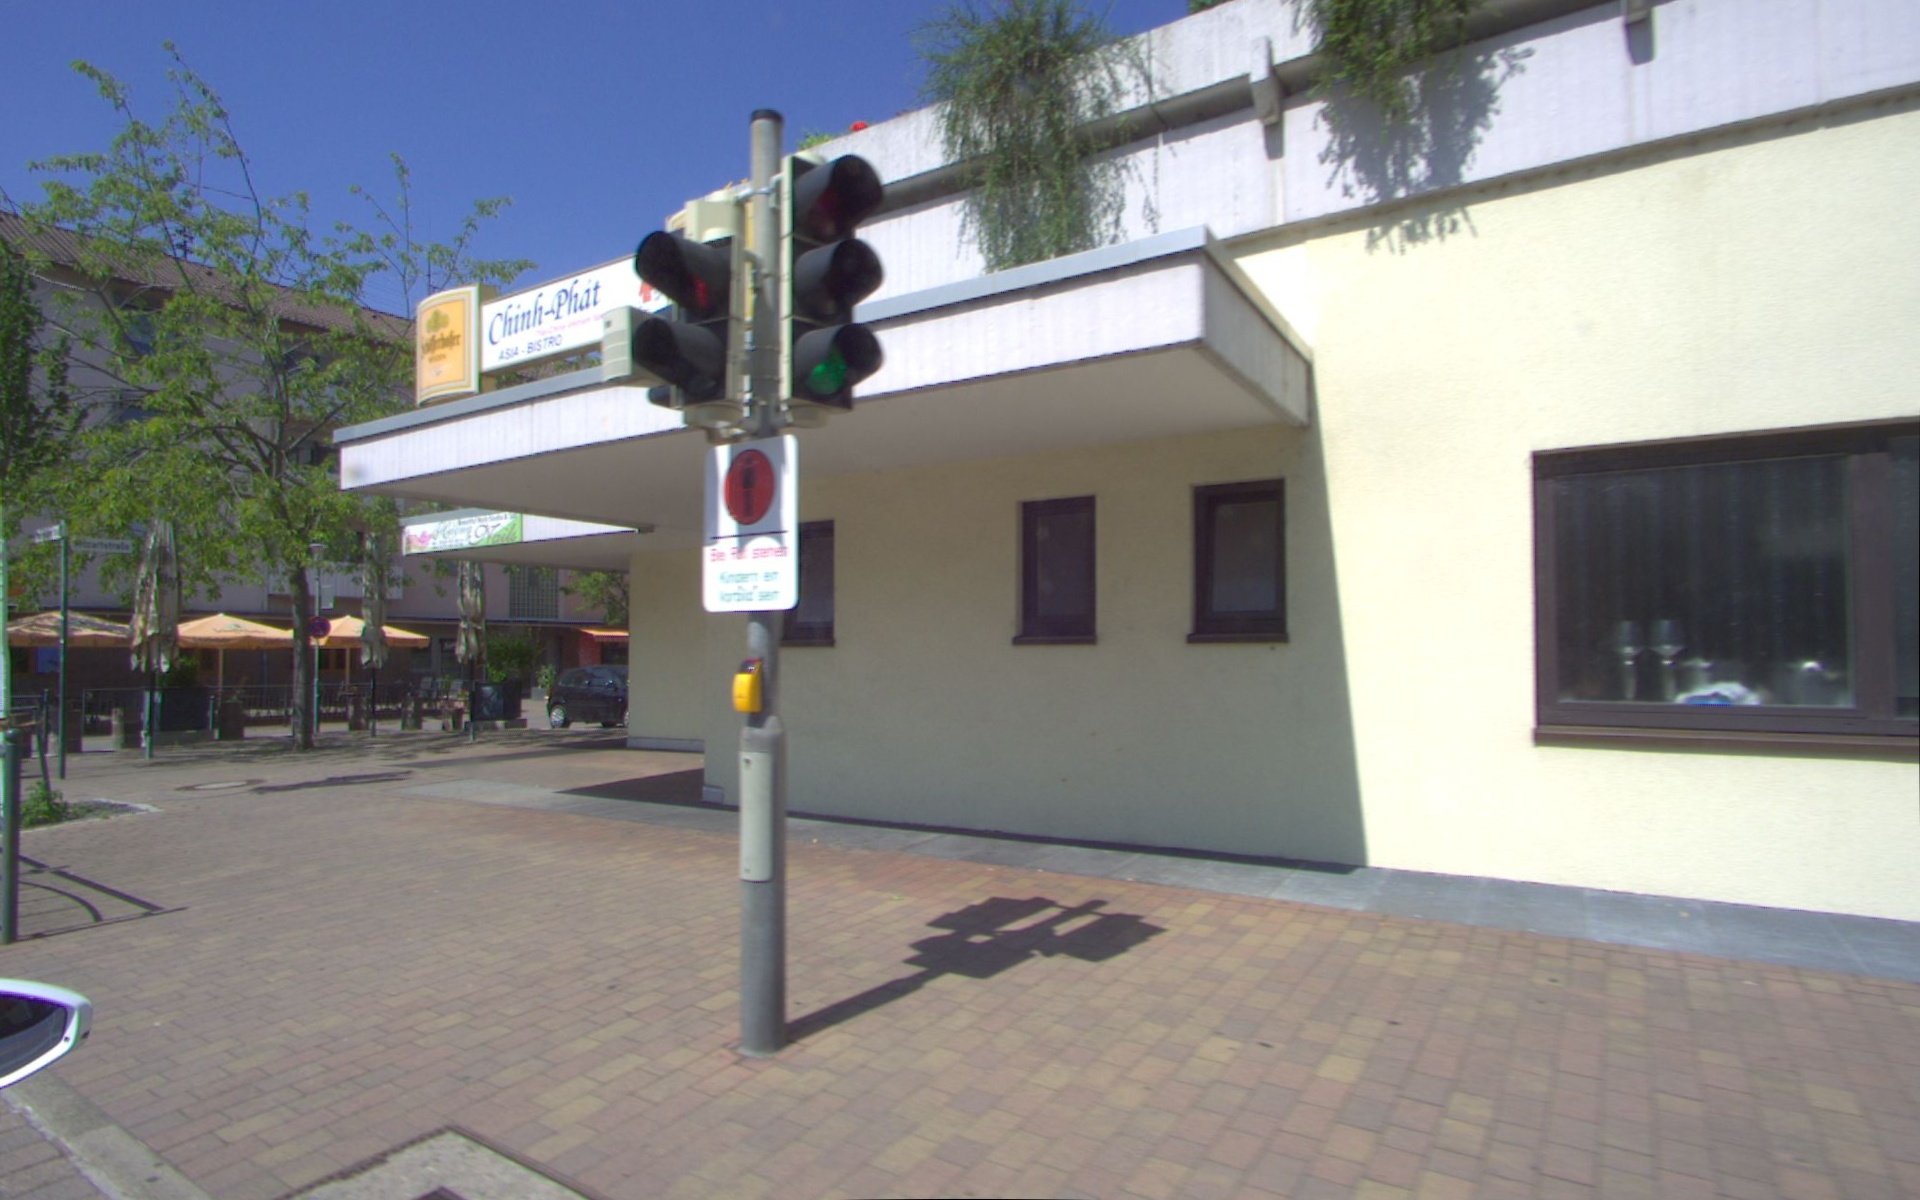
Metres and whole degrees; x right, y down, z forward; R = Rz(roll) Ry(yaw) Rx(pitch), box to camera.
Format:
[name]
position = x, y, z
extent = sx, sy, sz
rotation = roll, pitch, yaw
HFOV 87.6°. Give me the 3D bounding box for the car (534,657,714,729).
[car]
position = -7.716, 2.085, 22.936
extent = 3.913, 1.528, 1.766
rotation = -2, -4, 30
